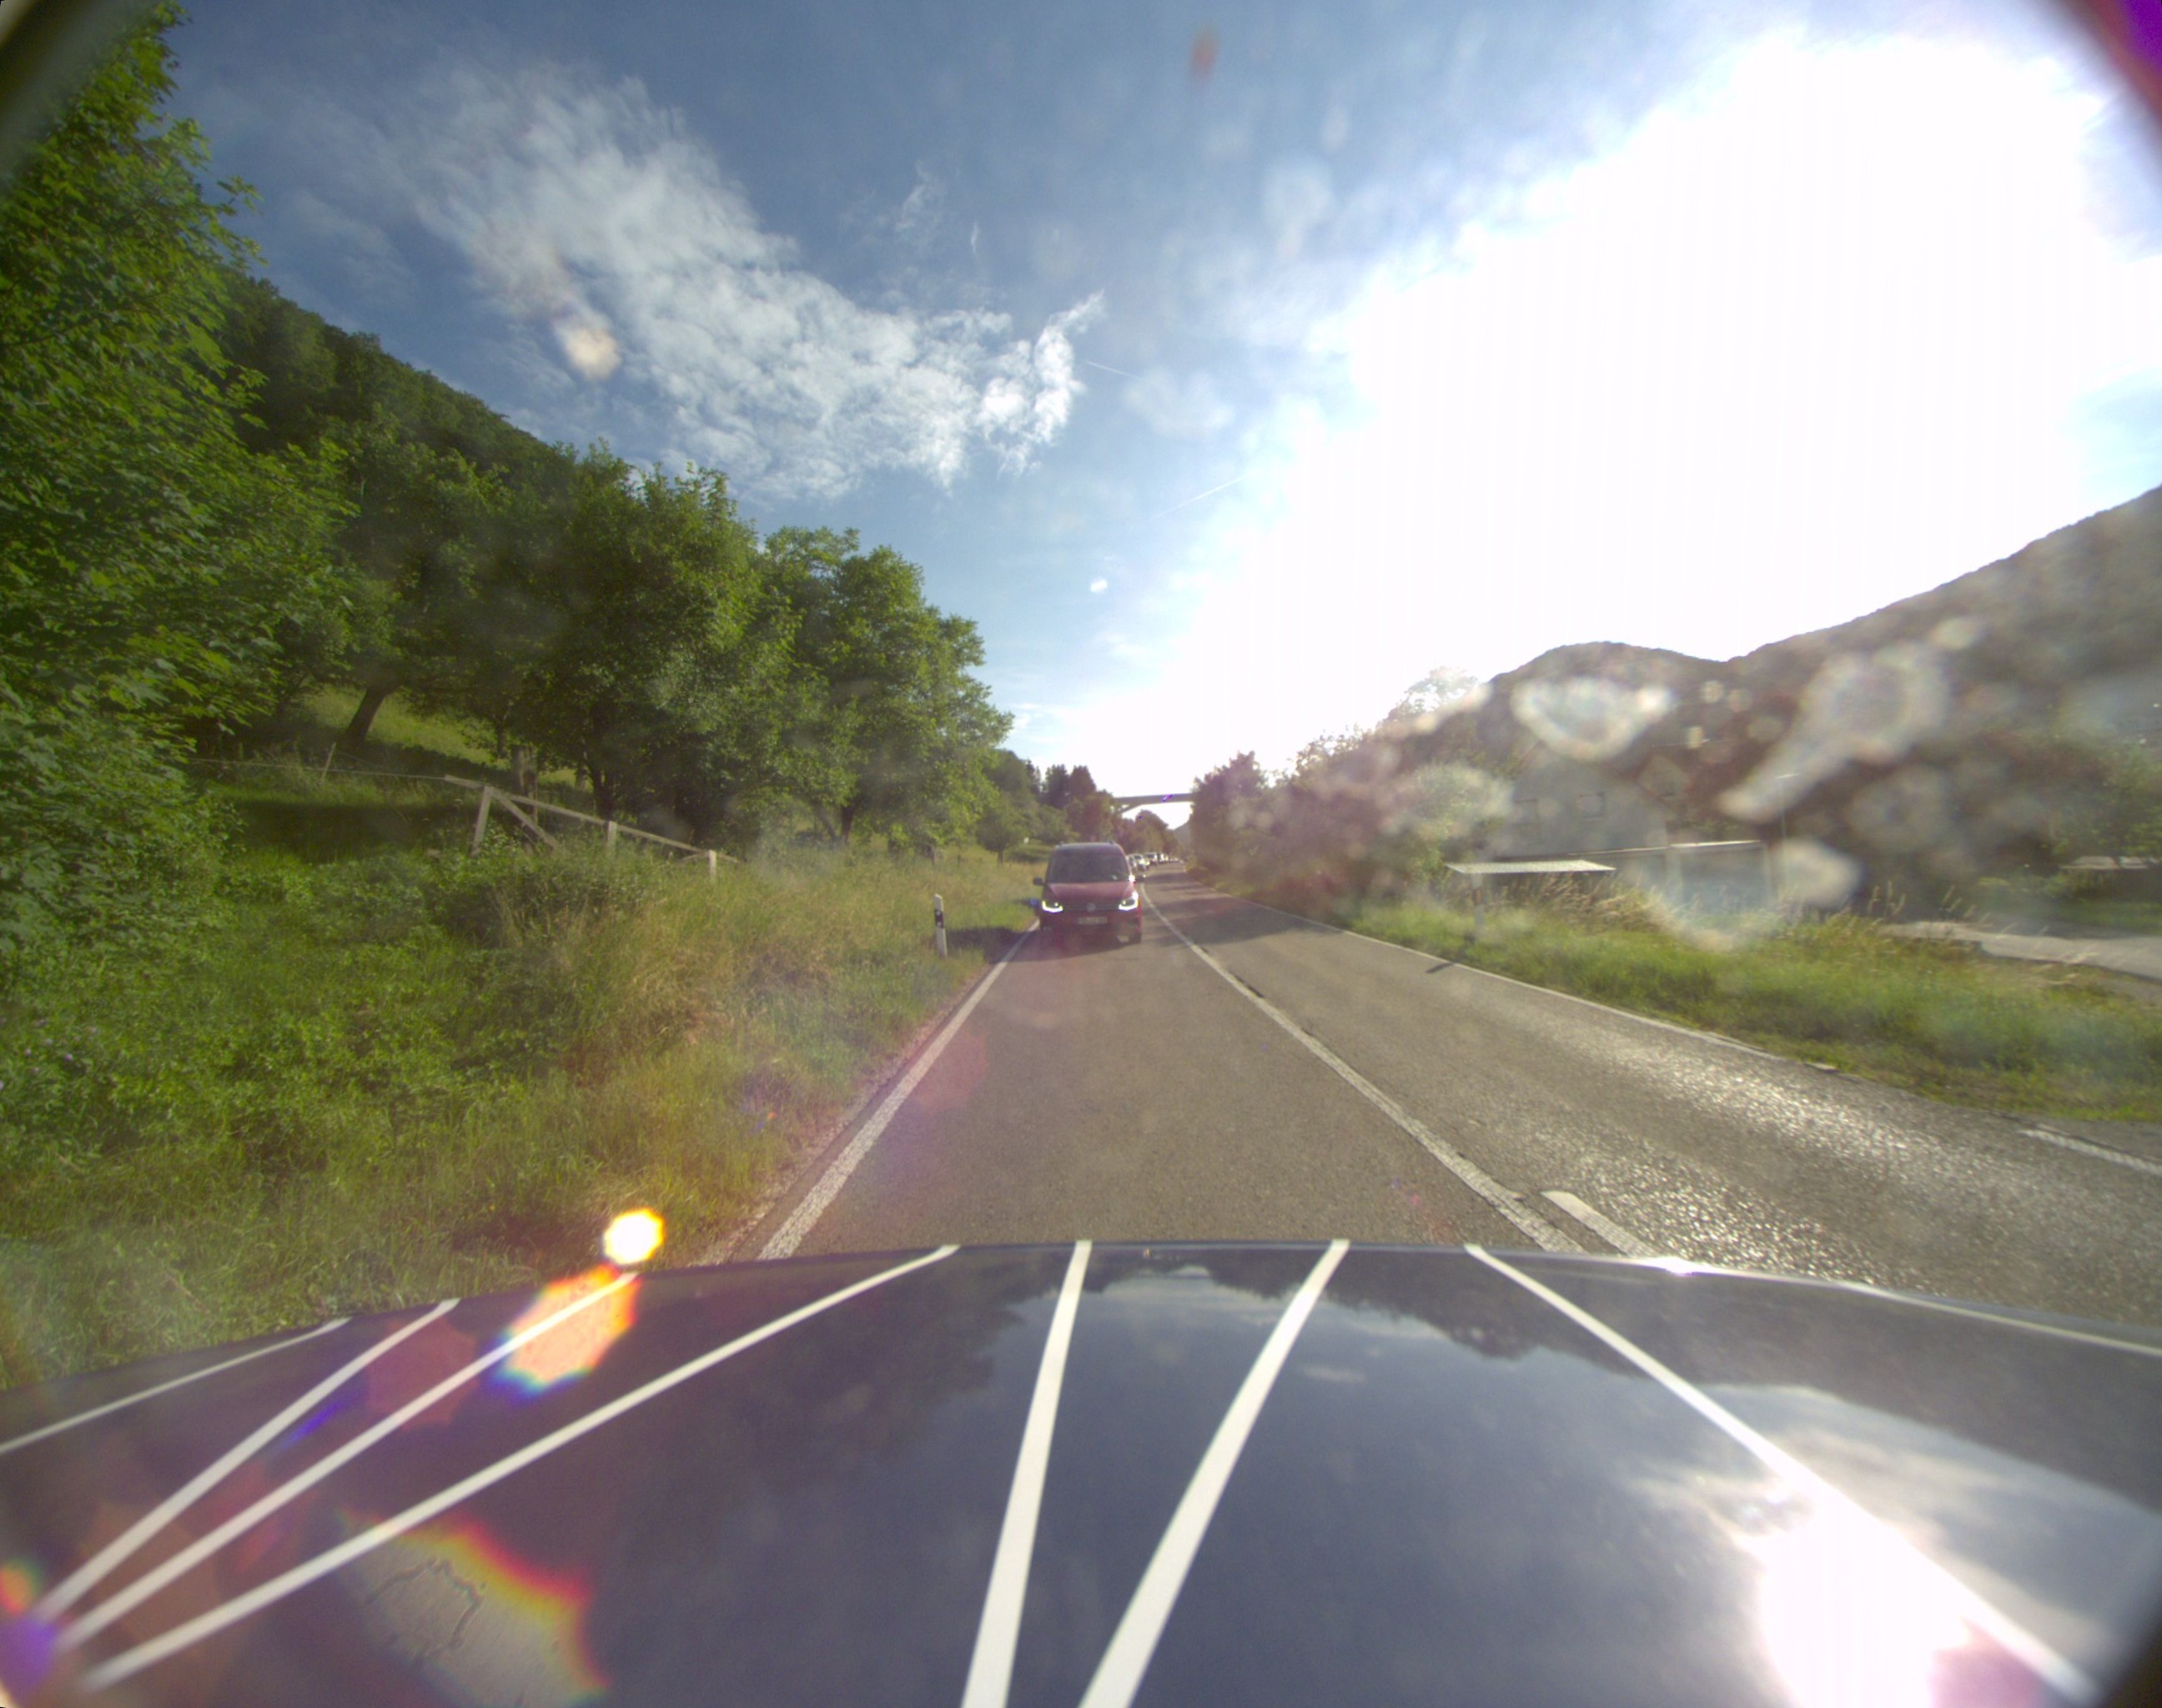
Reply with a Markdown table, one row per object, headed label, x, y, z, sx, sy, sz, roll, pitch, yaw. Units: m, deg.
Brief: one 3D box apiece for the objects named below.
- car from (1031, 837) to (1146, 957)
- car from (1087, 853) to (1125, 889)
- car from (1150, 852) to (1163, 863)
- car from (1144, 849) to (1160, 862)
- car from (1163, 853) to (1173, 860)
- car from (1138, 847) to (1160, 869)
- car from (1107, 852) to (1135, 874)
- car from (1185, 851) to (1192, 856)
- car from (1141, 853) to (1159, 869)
| label | x | y | z | sx | sy | sz | roll | pitch | yaw |
| --- | --- | --- | --- | --- | --- | --- | --- | --- | --- |
| car | 0.165 | 0.690 | 14.244 | 1.772 | 1.855 | 3.875 | -3 | 0 | 1 |
| car | 1.180 | 0.738 | 34.600 | 1.571 | 1.575 | 3.527 | -1 | 0 | 4 |
| car | 11.407 | 0.572 | 114.605 | 1.817 | 1.608 | 4.002 | -1 | 0 | 8 |
| car | 9.273 | 0.144 | 99.027 | 1.817 | 1.608 | 4.003 | -1 | 0 | 9 |
| car | 18.784 | 0.520 | 163.877 | 1.840 | 1.543 | 4.181 | -1 | 0 | 12 |
| car | 6.322 | 0.356 | 70.112 | 1.914 | 2.002 | 4.002 | -1 | 0 | 6 |
| car | 2.940 | 0.608 | 55.009 | 1.841 | 1.543 | 4.179 | -1 | 0 | 5 |
| car | 33.079 | -0.129 | 233.438 | 1.817 | 1.608 | 3.807 | -1 | 0 | 6 |
| car | 7.183 | 0.677 | 78.850 | 1.841 | 1.543 | 4.179 | -1 | 0 | 6 |
